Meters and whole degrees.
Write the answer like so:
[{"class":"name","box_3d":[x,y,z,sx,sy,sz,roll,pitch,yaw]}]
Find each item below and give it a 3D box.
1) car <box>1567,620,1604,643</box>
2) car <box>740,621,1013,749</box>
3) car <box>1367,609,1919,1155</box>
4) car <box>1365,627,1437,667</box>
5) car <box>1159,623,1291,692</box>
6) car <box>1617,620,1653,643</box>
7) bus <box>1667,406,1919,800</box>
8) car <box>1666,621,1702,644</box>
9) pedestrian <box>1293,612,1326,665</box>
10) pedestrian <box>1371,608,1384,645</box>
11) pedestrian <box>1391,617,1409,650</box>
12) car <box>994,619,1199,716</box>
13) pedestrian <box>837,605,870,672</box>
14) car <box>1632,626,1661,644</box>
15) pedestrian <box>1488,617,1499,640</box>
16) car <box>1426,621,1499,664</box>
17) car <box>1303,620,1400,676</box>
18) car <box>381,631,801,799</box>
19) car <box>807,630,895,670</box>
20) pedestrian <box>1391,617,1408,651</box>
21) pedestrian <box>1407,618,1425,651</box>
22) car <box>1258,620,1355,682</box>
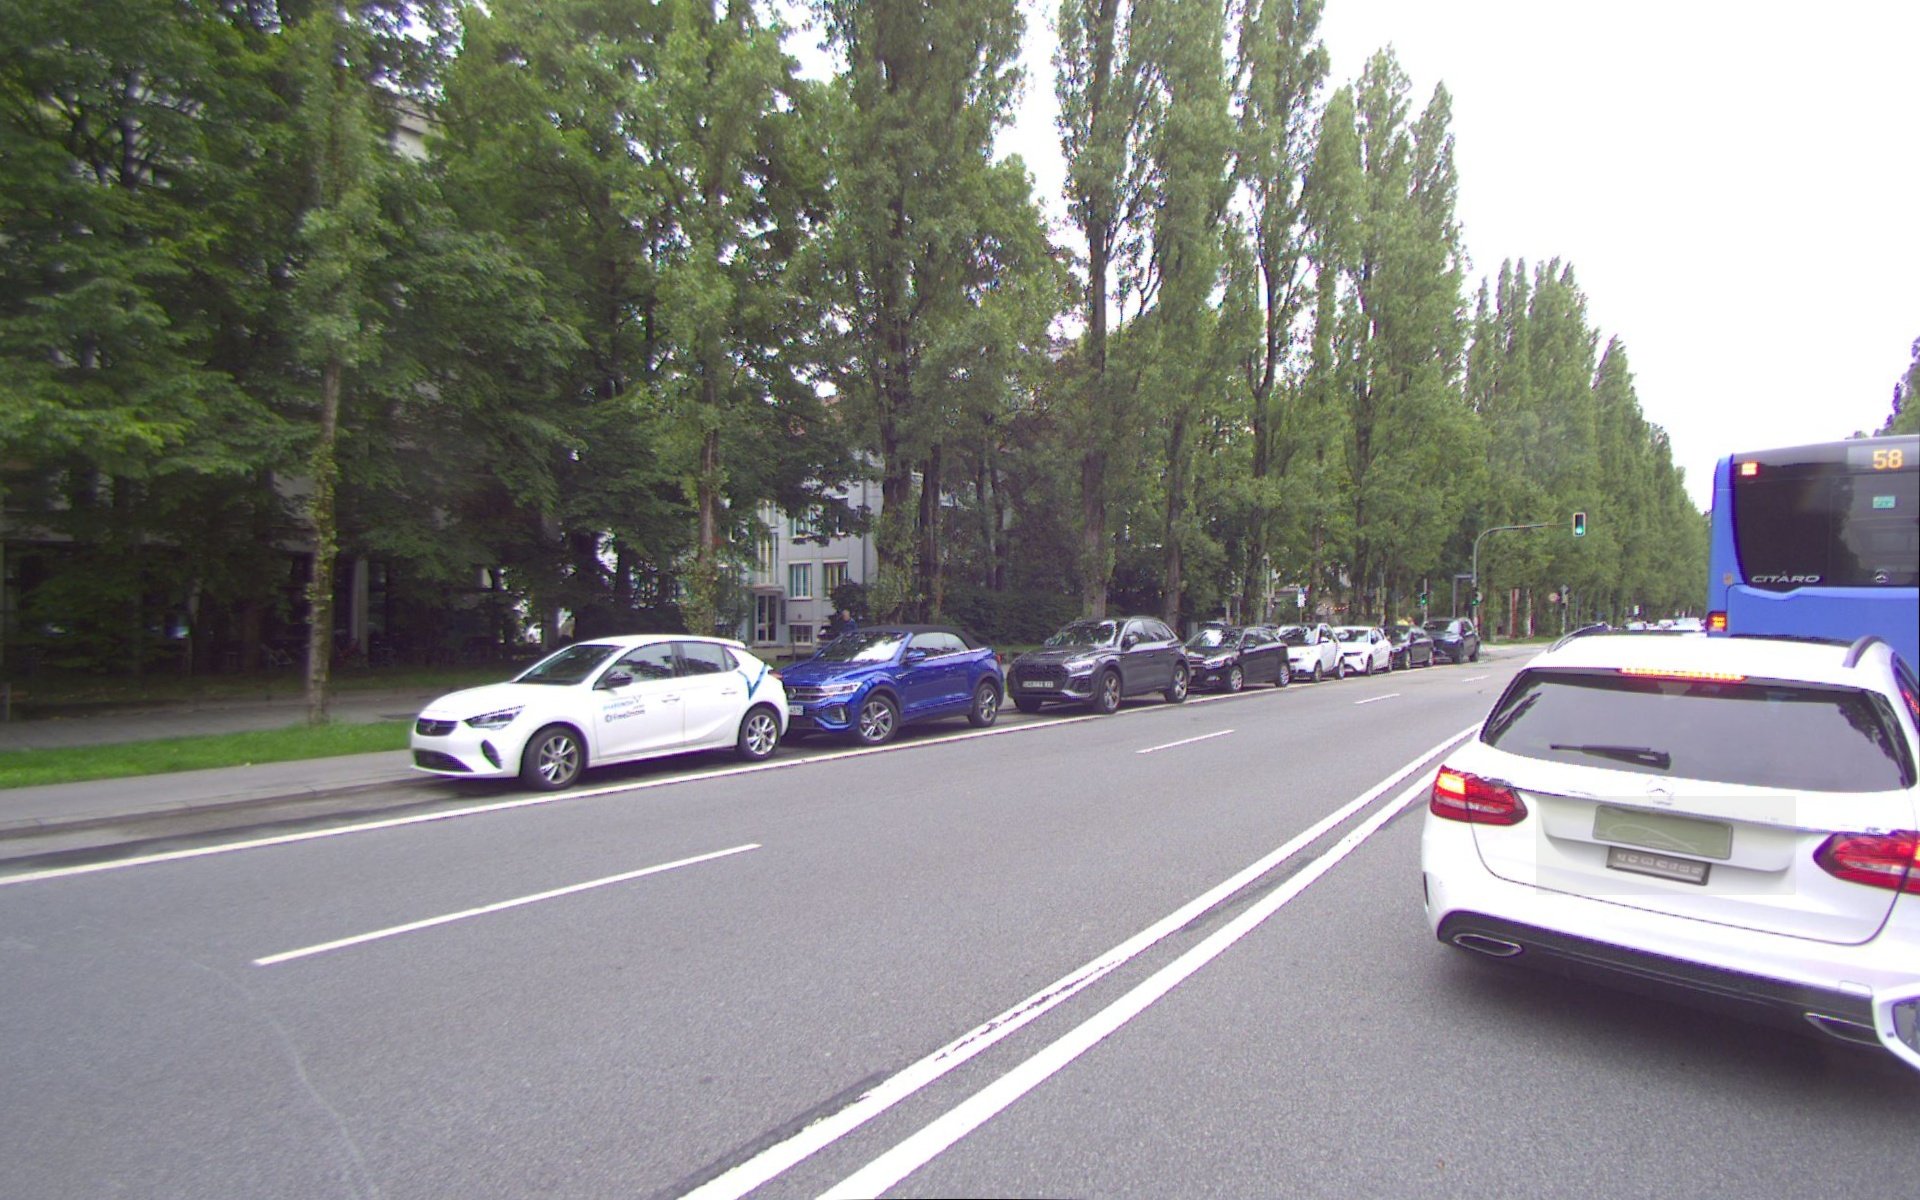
[{"class":"car","box_3d":[44.210,2.212,70.947,1.799,1.506,3.983,0,-1,38]},{"class":"car","box_3d":[-1.028,1.095,14.356,1.719,1.538,4.107,-2,-2,33]},{"class":"car","box_3d":[3.729,0.827,4.874,1.805,1.474,4.558,1,0,42]},{"class":"car","box_3d":[15.204,1.575,34.547,1.274,1.290,3.831,0,-1,39]},{"class":"car","box_3d":[6.160,1.288,23.083,1.521,1.452,3.854,-4,-3,38]},{"class":"car","box_3d":[46.403,2.137,69.015,1.799,1.506,3.983,0,-1,38]},{"class":"bus","box_3d":[10.807,0.082,11.787,2.825,3.256,9.005,1,0,43]},{"class":"car","box_3d":[52.543,2.324,72.834,1.969,1.641,3.983,0,-1,38]},{"class":"pedestrian","box_3d":[12.172,1.321,34.962,0.811,1.787,1.077,0,-1,37]},{"class":"pedestrian","box_3d":[23.049,1.479,55.419,0.496,2.040,0.599,-1,-1,38]},{"class":"pedestrian","box_3d":[23.309,1.761,53.244,0.694,1.759,0.806,0,-1,38]},{"class":"car","box_3d":[2.623,1.173,18.461,1.769,1.568,4.321,-4,-3,38]},{"class":"pedestrian","box_3d":[-2.828,1.018,26.760,0.592,1.762,0.637,0,-1,39]},{"class":"car","box_3d":[67.143,3.399,98.210,1.969,1.613,4.424,-1,-1,39]},{"class":"pedestrian","box_3d":[47.595,2.562,89.584,0.819,2.040,0.775,0,-1,36]},{"class":"car","box_3d":[19.293,1.586,38.479,1.687,1.572,3.982,0,-1,39]},{"class":"car","box_3d":[11.818,1.403,30.198,1.687,1.568,3.984,-1,-2,38]},{"class":"car","box_3d":[-3.756,1.075,10.810,1.664,1.431,3.988,-2,-2,38]},{"class":"car","box_3d":[-5.103,2.314,47.447,1.965,1.706,4.257,-1,-1,31]},{"class":"pedestrian","box_3d":[27.180,2.099,62.057,0.819,2.040,0.775,0,-1,37]},{"class":"pedestrian","box_3d":[28.010,2.107,61.681,0.819,2.040,0.775,0,-1,37]},{"class":"car","box_3d":[9.425,1.322,27.184,1.393,1.572,3.428,0,-1,39]}]
